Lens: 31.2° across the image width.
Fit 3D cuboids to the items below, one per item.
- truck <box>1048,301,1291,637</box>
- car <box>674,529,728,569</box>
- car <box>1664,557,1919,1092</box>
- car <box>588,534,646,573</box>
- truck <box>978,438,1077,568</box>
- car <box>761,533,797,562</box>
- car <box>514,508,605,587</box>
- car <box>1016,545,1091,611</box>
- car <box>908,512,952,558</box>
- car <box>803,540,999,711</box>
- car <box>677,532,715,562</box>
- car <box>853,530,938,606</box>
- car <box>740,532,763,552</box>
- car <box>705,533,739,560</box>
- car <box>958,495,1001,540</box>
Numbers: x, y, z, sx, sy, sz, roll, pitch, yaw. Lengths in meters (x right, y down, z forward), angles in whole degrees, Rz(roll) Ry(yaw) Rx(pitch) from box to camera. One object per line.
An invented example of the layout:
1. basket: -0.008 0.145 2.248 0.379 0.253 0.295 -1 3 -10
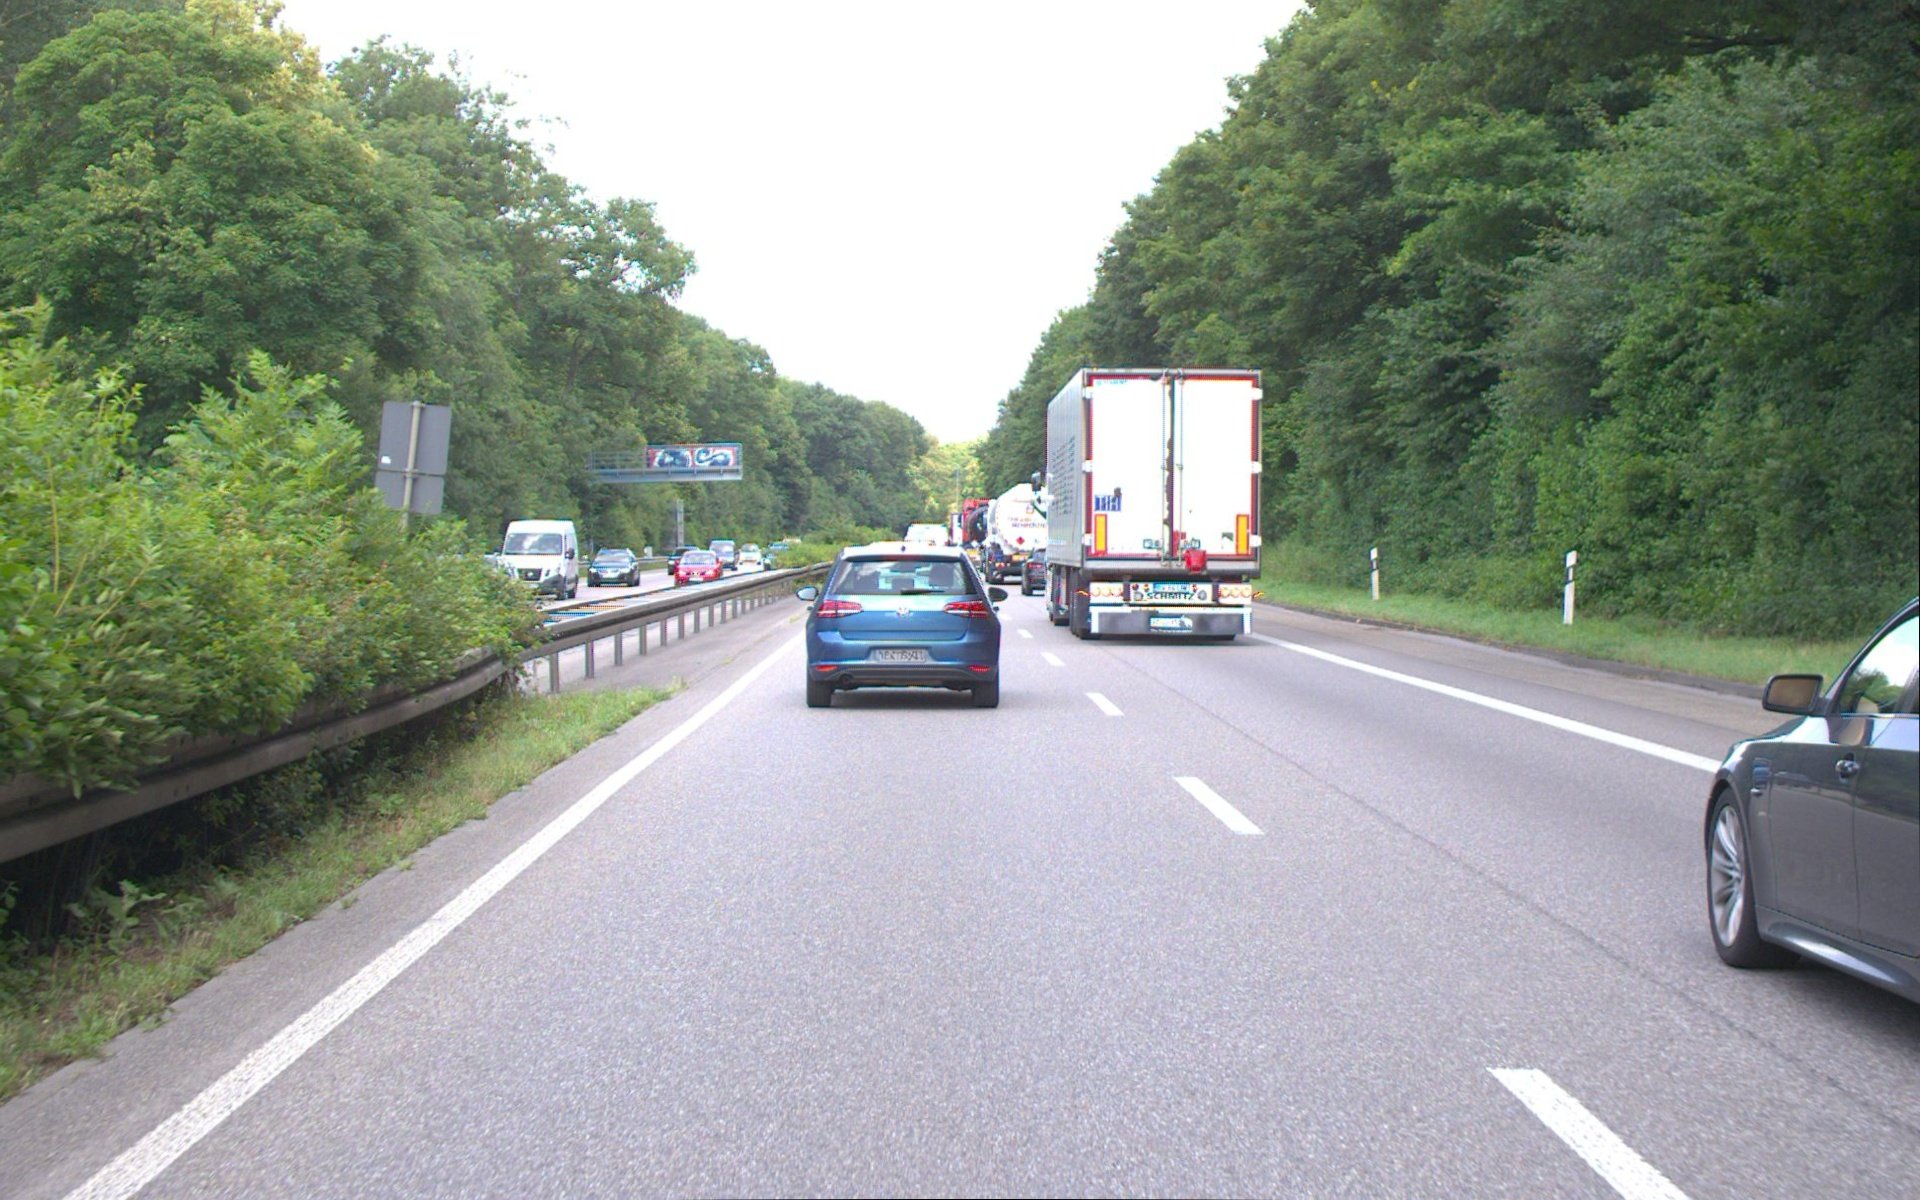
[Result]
1. truck: 3.112 -1.996 54.288 3.242 4.699 11.007 -1 1 1
2. car: -9.608 -1.906 127.659 1.678 1.449 4.128 0 1 0
3. car: 3.569 0.631 10.465 1.774 1.470 4.881 0 1 -1
4. car: -13.535 -1.858 135.871 1.786 1.473 4.570 -1 1 0
5. truck: 2.316 -3.358 122.252 3.232 4.371 12.971 0 1 0
6. car: -10.070 -2.931 191.333 1.781 1.514 4.267 -1 1 -1
7. car: -12.415 -1.652 106.993 2.111 2.414 5.831 0 1 0
8. car: 2.540 -0.622 94.468 1.888 1.723 4.000 -1 1 0
9. car: -1.507 -3.248 172.192 1.993 2.247 4.443 -1 1 -3
10. car: -0.548 0.191 31.891 1.705 1.465 4.000 0 1 -1
11. car: -13.807 -2.777 179.801 1.680 1.514 4.859 -1 1 -1
12. car: -1.285 -0.669 69.791 1.665 1.495 4.152 0 1 0
13. car: -15.700 -4.375 258.555 1.537 1.391 3.511 -1 1 -1
14. car: -14.407 -3.267 207.980 1.760 1.587 4.634 -1 1 -1
15. car: 1.014 -4.332 180.902 1.993 2.319 4.443 -1 1 -3
